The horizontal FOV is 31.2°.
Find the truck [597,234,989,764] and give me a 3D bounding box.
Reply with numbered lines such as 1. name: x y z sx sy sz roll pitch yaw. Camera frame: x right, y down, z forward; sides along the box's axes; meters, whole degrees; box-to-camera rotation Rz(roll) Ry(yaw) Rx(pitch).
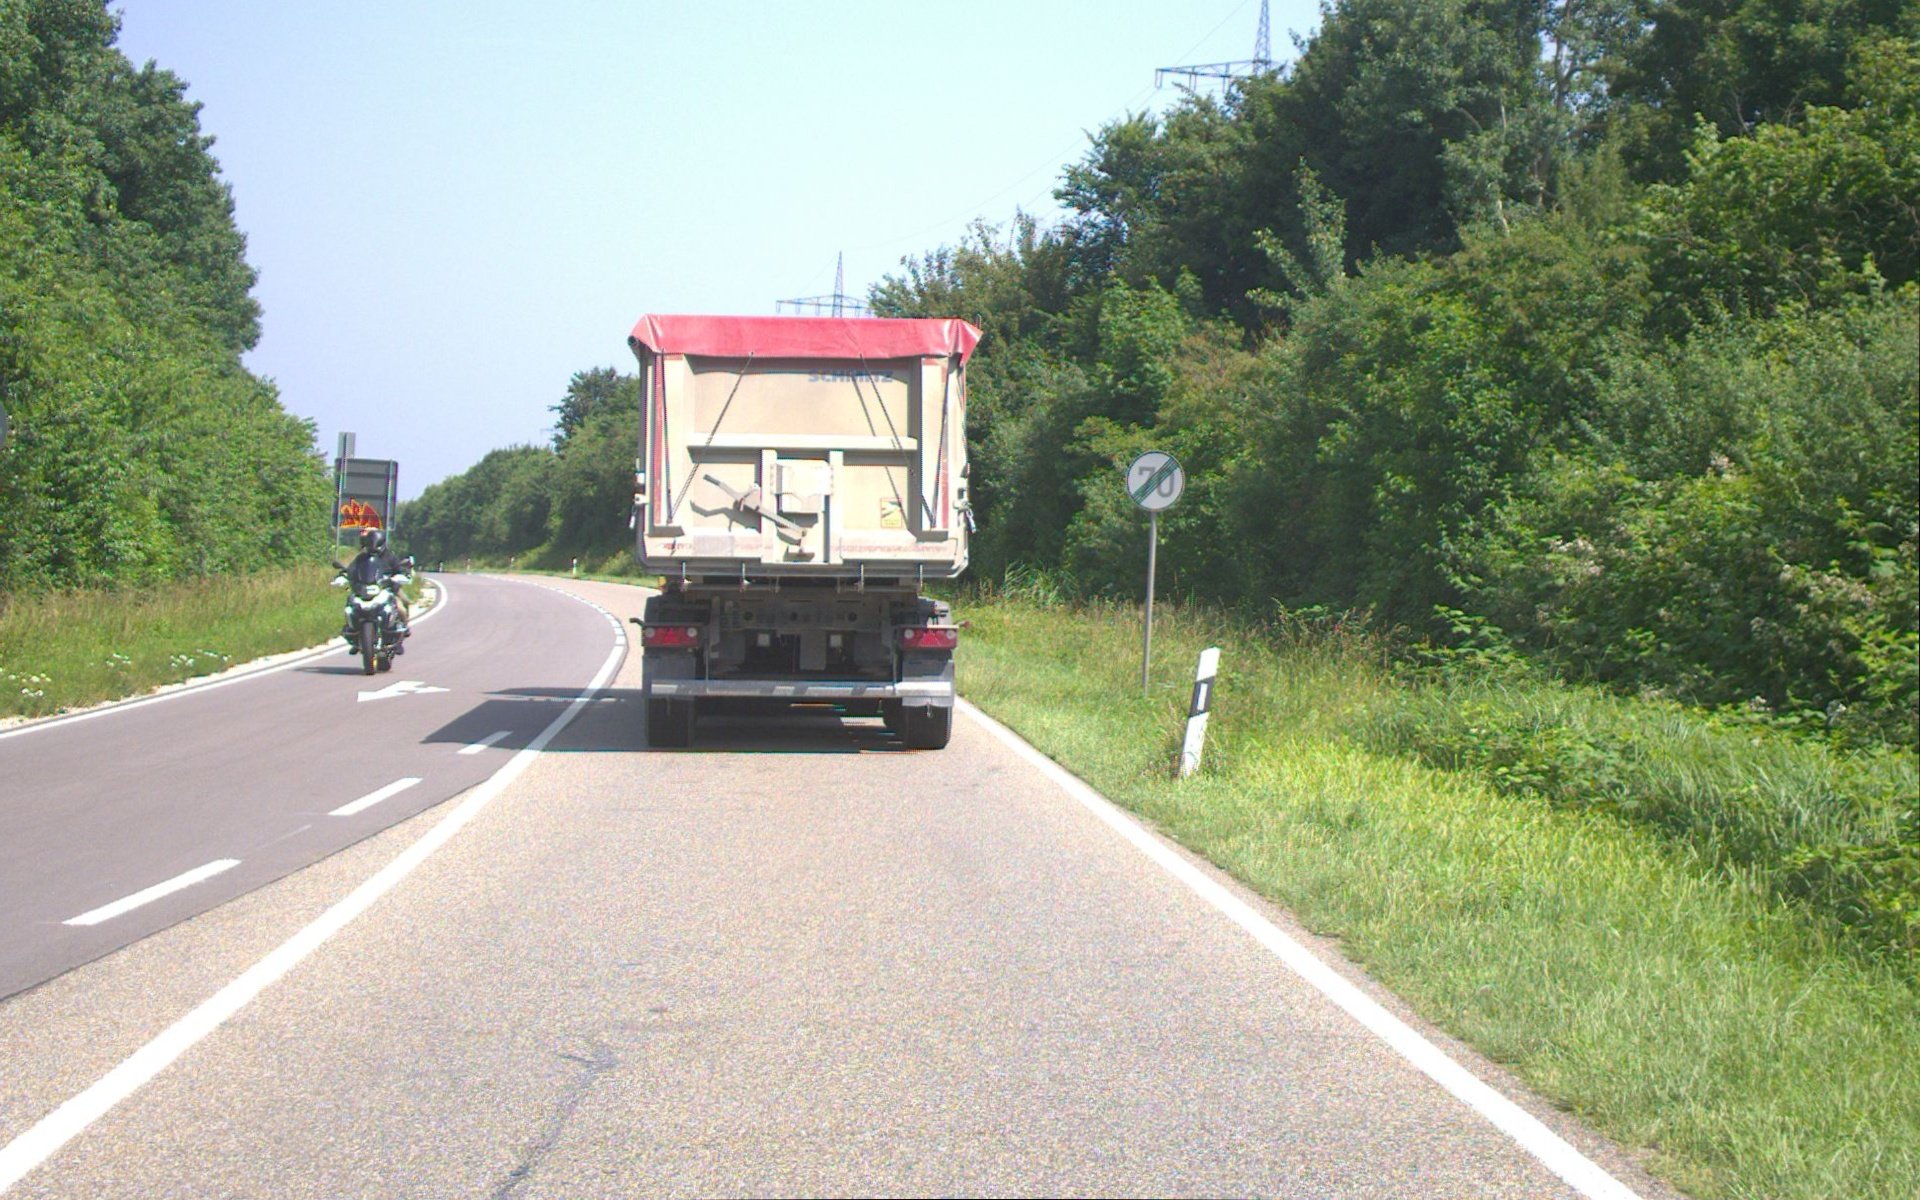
1. truck: -1.492 -0.867 31.915 2.893 3.949 11.934 1 1 -2

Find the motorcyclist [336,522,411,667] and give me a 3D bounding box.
1. motorcyclist: -7.156 -0.069 41.976 0.830 1.746 0.623 1 1 -5

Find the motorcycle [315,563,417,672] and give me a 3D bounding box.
1. motorcycle: -7.163 0.193 41.564 0.946 1.246 2.682 1 1 -4

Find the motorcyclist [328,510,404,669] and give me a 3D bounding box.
1. motorcyclist: -7.128 -0.126 41.271 0.820 1.875 0.657 1 1 -5
